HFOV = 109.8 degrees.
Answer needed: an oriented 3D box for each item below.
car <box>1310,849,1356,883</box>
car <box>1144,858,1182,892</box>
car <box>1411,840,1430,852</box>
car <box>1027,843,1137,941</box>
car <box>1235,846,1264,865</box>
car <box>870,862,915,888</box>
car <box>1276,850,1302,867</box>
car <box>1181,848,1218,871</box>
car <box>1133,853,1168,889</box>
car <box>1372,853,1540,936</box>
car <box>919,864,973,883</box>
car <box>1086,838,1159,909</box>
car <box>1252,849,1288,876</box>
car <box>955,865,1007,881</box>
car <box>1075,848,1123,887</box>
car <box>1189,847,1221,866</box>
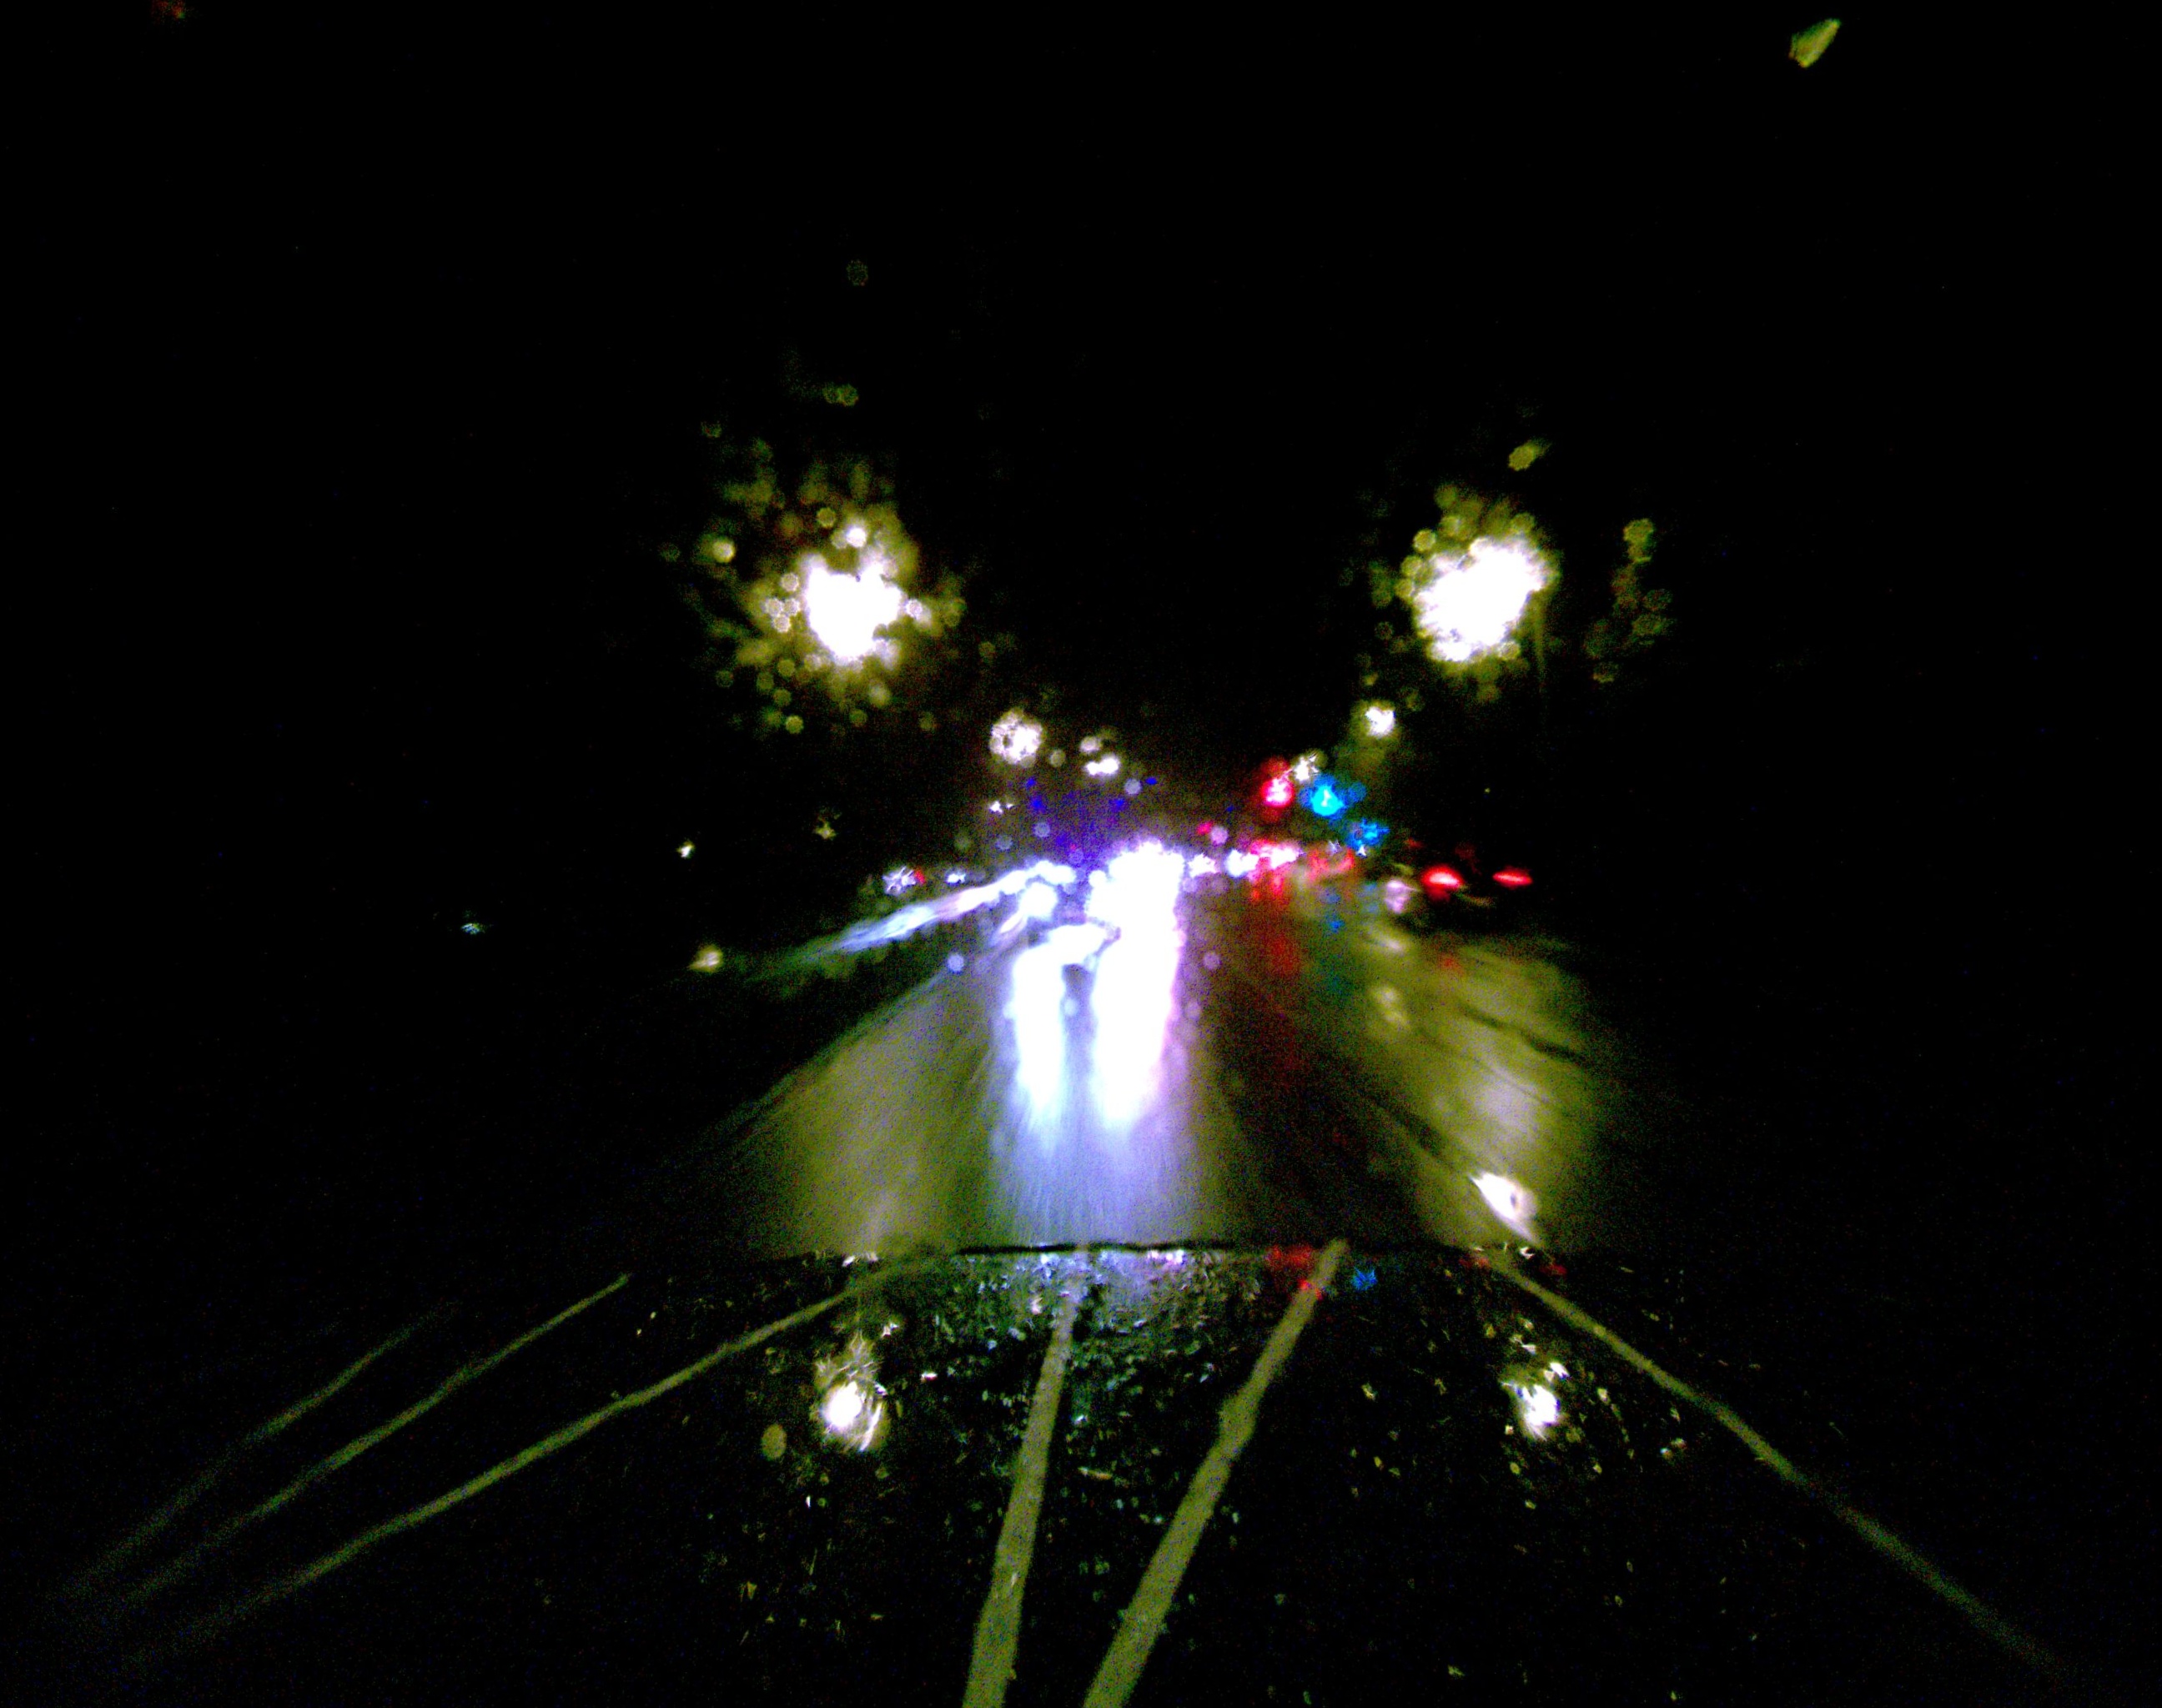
[{"bbox_3d":[12.044,0.535,36.551,1.769,1.508,3.953,-1,0,14],"label":"car"},{"bbox_3d":[6.336,1.576,58.265,1.997,2.003,4.002,-7,3,16],"label":"car"},{"bbox_3d":[50.199,-1.150,112.371,1.986,1.595,4.843,-1,0,31],"label":"car"},{"bbox_3d":[0.034,0.676,15.543,1.927,1.704,4.239,-1,0,0],"label":"car"},{"bbox_3d":[18.607,0.168,83.942,1.865,2.001,4.008,-2,-1,31],"label":"car"},{"bbox_3d":[-18.036,2.023,72.644,3.991,2.002,1.766,-6,3,35],"label":"car"},{"bbox_3d":[26.142,0.589,95.436,1.865,2.001,4.008,-3,-1,34],"label":"car"},{"bbox_3d":[11.349,0.515,72.392,1.995,2.001,4.008,-3,-1,33],"label":"car"},{"bbox_3d":[3.799,0.877,41.180,1.305,1.520,3.047,-17,-1,9],"label":"car"},{"bbox_3d":[7.398,0.712,15.496,1.770,1.419,4.221,0,0,7],"label":"car"},{"bbox_3d":[-12.353,1.754,69.240,4.769,1.630,2.004,-1,0,34],"label":"car"},{"bbox_3d":[1.373,0.540,23.561,1.997,2.002,4.002,0,0,7],"label":"car"},{"bbox_3d":[12.572,0.528,50.283,2.001,1.665,4.623,-2,0,17],"label":"car"},{"bbox_3d":[-9.381,1.797,71.050,4.533,1.400,2.004,-1,0,34],"label":"car"},{"bbox_3d":[0.842,0.592,35.521,2.046,1.611,4.287,-3,0,1],"label":"car"},{"bbox_3d":[13.603,0.230,83.163,1.865,2.001,4.008,-3,-1,34],"label":"car"}]
